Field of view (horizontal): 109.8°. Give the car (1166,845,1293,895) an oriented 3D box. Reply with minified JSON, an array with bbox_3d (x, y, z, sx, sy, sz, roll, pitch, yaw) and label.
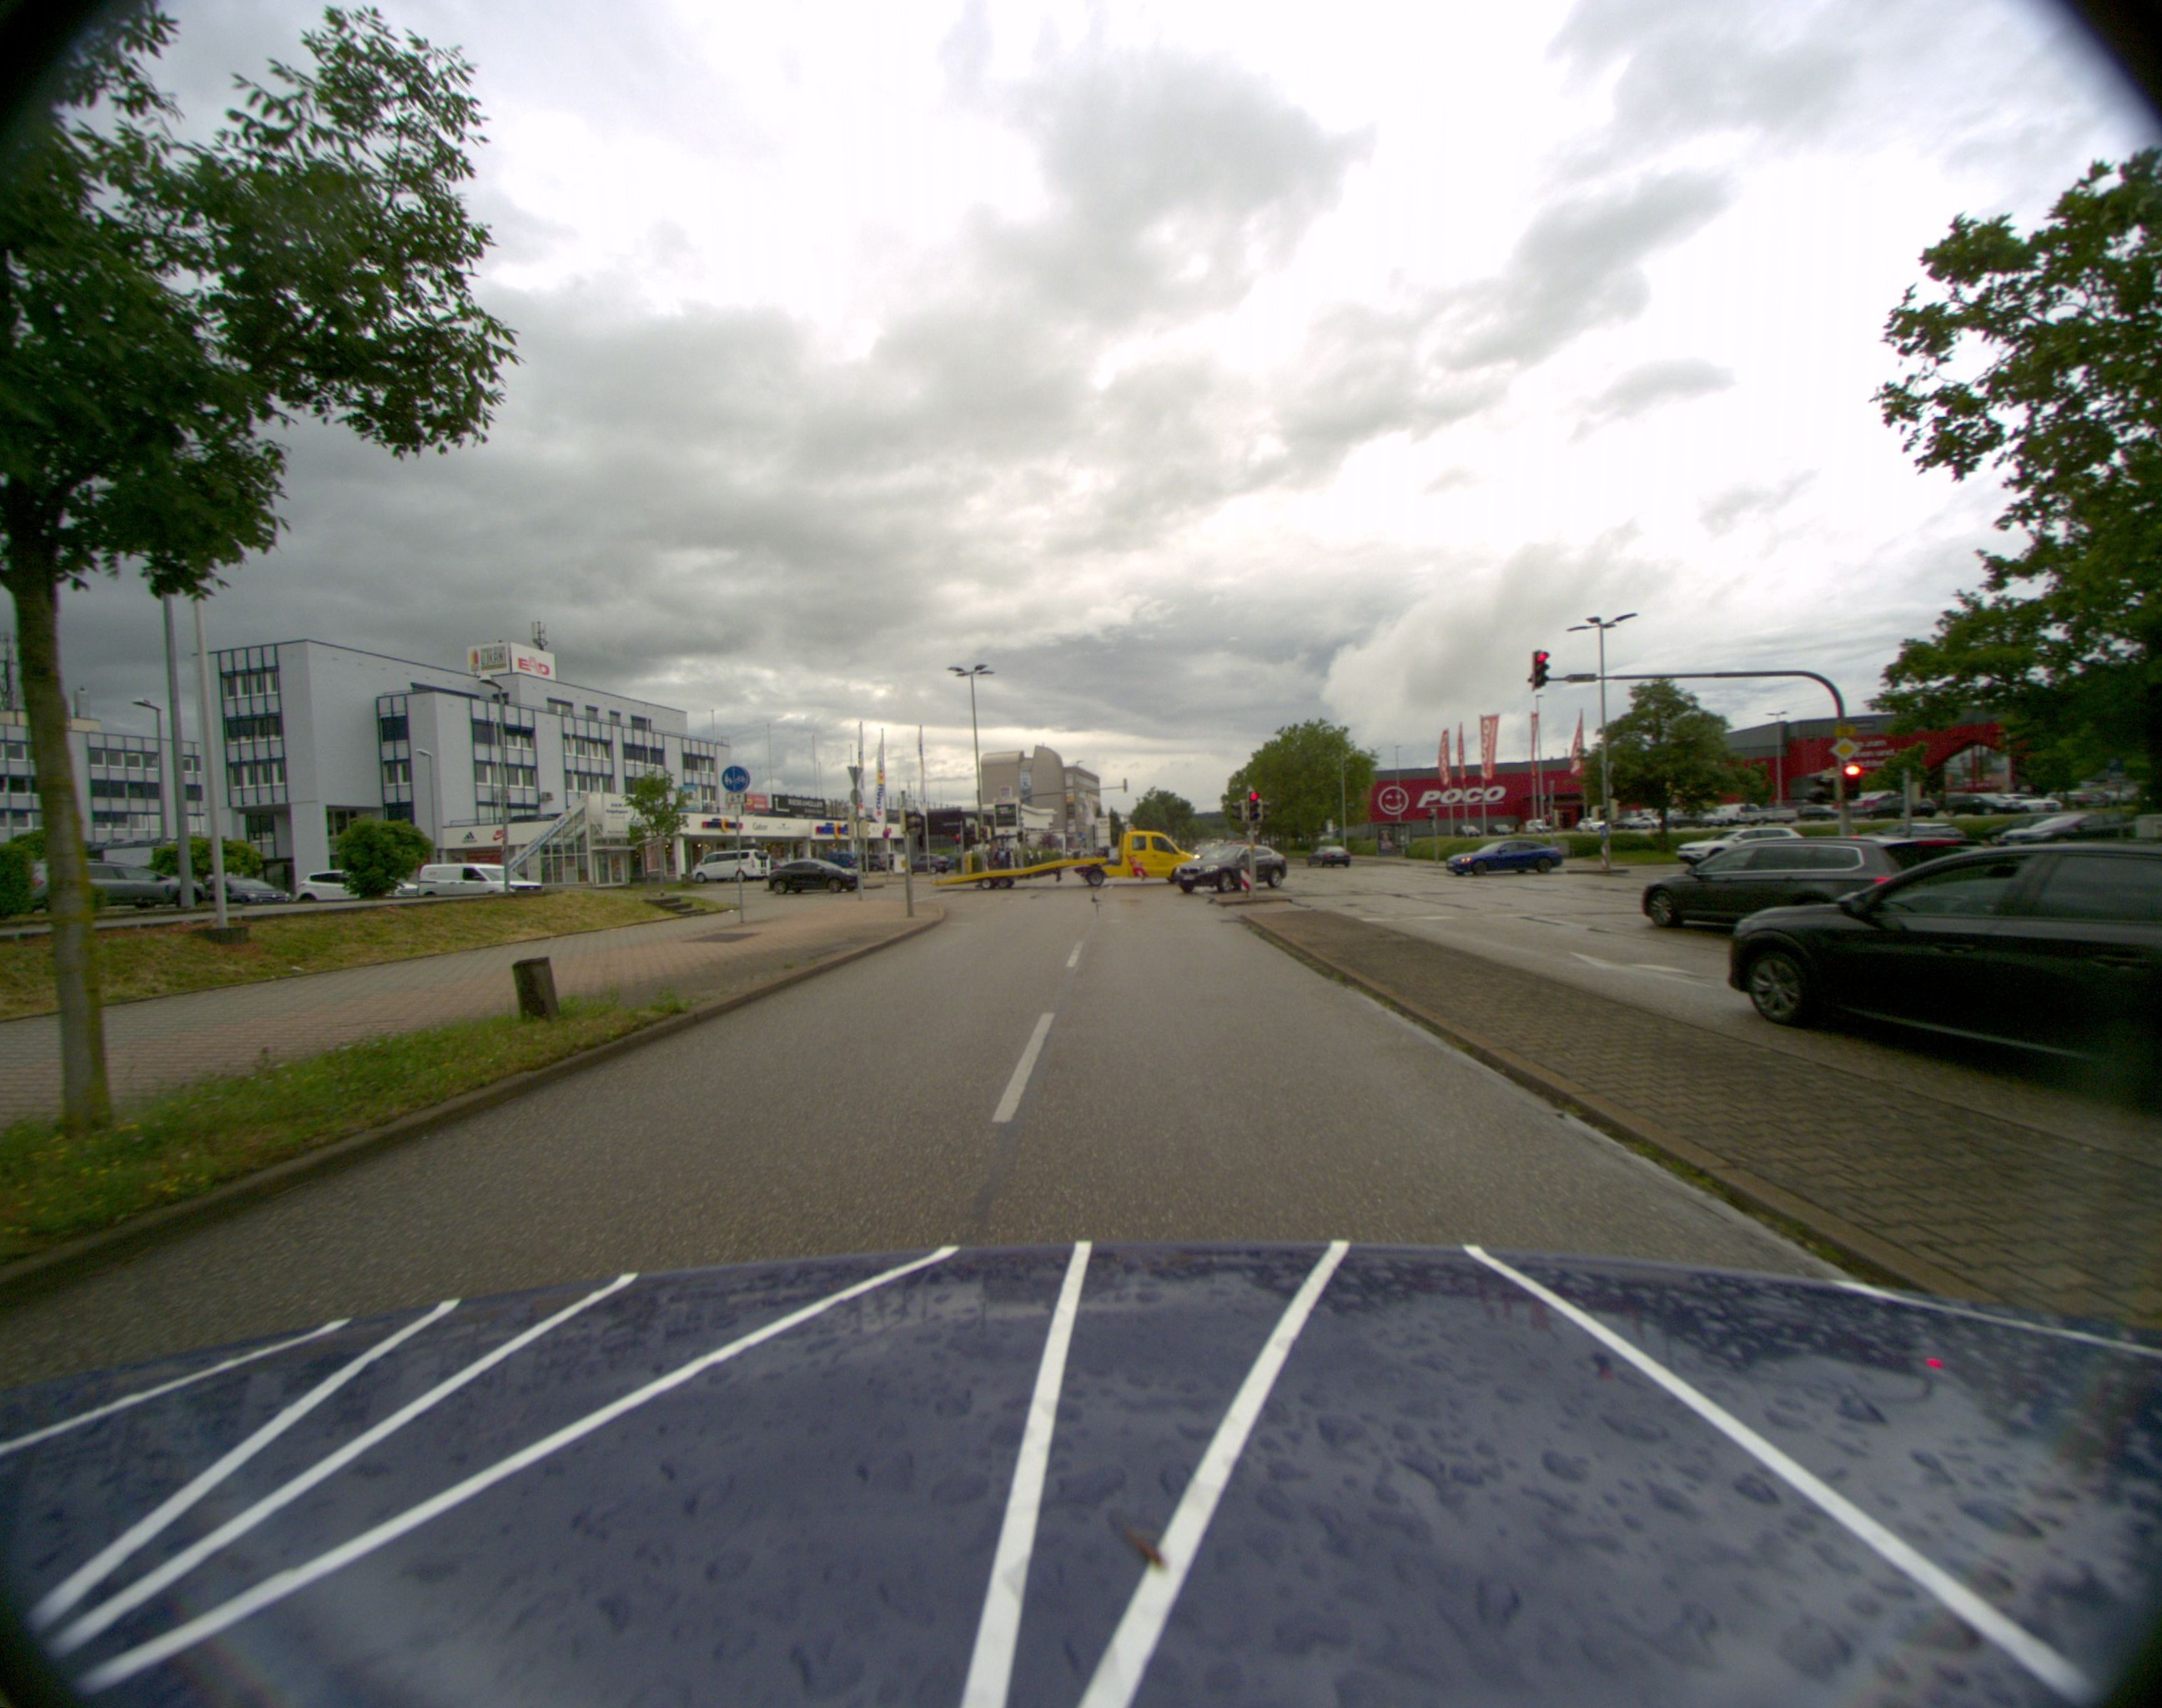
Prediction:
[{"bbox_3d":[5.372,0.511,27.185,4.600,1.544,1.896,-2,1,-39],"label":"car"}]

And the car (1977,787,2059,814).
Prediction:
[{"bbox_3d":[67.366,-3.830,54.719,1.670,1.636,3.830,-1,1,11],"label":"car"}]

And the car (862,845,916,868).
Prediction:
[{"bbox_3d":[-17.534,0.232,69.468,4.367,1.895,1.898,-1,1,12],"label":"car"}]

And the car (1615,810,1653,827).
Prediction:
[{"bbox_3d":[56.778,-3.618,78.087,1.670,1.636,3.965,-1,1,11],"label":"car"}]

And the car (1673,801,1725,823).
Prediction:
[{"bbox_3d":[50.867,-3.433,62.600,1.670,1.636,3.830,-1,1,11],"label":"car"}]

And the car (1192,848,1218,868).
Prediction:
[{"bbox_3d":[9.429,0.265,57.972,1.716,1.455,4.001,0,1,6],"label":"car"}]

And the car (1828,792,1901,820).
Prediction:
[{"bbox_3d":[72.698,-4.407,70.608,1.823,2.290,5.651,-1,1,11],"label":"car"}]

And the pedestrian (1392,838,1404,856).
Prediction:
[{"bbox_3d":[25.529,-0.562,61.220,0.780,1.423,0.641,-1,1,6],"label":"pedestrian"}]

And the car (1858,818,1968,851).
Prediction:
[{"bbox_3d":[42.485,-0.956,38.921,1.683,1.544,3.661,-2,1,3],"label":"car"}]

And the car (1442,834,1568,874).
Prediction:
[{"bbox_3d":[18.623,0.002,33.517,4.548,1.623,1.801,-1,1,0],"label":"car"}]

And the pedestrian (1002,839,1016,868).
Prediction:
[{"bbox_3d":[-5.187,-0.044,54.647,0.740,2.002,0.698,-1,1,11],"label":"pedestrian"}]

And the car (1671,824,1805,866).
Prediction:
[{"bbox_3d":[28.866,-0.375,33.507,3.994,1.544,1.903,-3,0,9],"label":"car"}]

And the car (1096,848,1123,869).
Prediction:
[{"bbox_3d":[2.148,0.310,56.339,1.753,1.455,4.001,0,1,6],"label":"car"}]

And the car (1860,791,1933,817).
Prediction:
[{"bbox_3d":[59.727,-3.633,55.735,1.670,1.636,3.830,-1,1,11],"label":"car"}]

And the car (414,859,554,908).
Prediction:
[{"bbox_3d":[-23.012,1.141,29.339,4.243,1.772,1.800,-2,-1,8],"label":"car"}]

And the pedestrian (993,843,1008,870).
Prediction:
[{"bbox_3d":[-5.577,0.163,52.355,0.814,1.846,0.698,0,3,13],"label":"pedestrian"}]

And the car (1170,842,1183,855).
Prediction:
[{"bbox_3d":[13.265,-0.797,105.430,1.619,1.718,3.680,-1,0,9],"label":"car"}]

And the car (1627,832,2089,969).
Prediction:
[{"bbox_3d":[10.493,0.511,10.978,1.998,1.499,4.731,-2,0,3],"label":"car"}]

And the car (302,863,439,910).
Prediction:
[{"bbox_3d":[-28.021,1.277,30.037,3.994,1.698,1.825,-2,1,9],"label":"car"}]

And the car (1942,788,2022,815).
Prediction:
[{"bbox_3d":[64.590,-3.749,54.569,1.670,1.636,3.830,-1,1,11],"label":"car"}]

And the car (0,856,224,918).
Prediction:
[{"bbox_3d":[-31.063,0.984,24.311,1.890,1.730,4.504,-1,1,7],"label":"car"}]

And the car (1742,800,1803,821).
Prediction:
[{"bbox_3d":[53.246,-3.322,58.597,1.670,1.373,3.912,-1,1,11],"label":"car"}]

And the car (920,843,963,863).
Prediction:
[{"bbox_3d":[-14.921,-0.126,81.179,3.992,2.002,1.913,-1,1,15],"label":"car"}]

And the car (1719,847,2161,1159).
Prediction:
[{"bbox_3d":[6.160,0.726,4.466,1.647,1.499,3.894,-1,0,2],"label":"car"}]

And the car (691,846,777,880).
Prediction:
[{"bbox_3d":[-22.330,0.583,48.929,4.779,2.002,2.002,-1,1,13],"label":"car"}]

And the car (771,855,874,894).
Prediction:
[{"bbox_3d":[-11.724,0.919,34.625,3.996,1.532,1.814,-2,2,4],"label":"car"}]

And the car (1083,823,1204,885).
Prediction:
[{"bbox_3d":[2.699,-0.005,33.840,5.012,2.459,2.246,-3,0,-2],"label":"car"}]

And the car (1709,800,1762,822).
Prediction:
[{"bbox_3d":[53.868,-3.516,62.611,1.630,1.636,3.830,-1,1,11],"label":"car"}]

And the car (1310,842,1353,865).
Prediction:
[{"bbox_3d":[16.613,-0.049,50.544,1.787,1.396,4.001,-2,1,5],"label":"car"}]

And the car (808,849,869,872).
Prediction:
[{"bbox_3d":[-19.814,0.549,62.123,4.367,1.754,1.898,-1,1,12],"label":"car"}]

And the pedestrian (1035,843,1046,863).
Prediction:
[{"bbox_3d":[-3.534,-0.106,66.733,0.713,1.701,0.698,-1,1,13],"label":"pedestrian"}]

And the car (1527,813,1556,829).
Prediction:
[{"bbox_3d":[57.265,-4.085,94.491,1.789,1.914,3.752,-1,0,9],"label":"car"}]

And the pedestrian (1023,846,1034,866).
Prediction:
[{"bbox_3d":[-4.453,0.147,63.920,0.700,1.701,0.698,-1,1,13],"label":"pedestrian"}]

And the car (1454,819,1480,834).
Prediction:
[{"bbox_3d":[46.326,-3.275,91.219,1.695,1.636,3.965,-1,1,11],"label":"car"}]

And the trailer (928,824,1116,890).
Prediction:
[{"bbox_3d":[-2.522,0.123,33.788,7.965,2.459,2.311,-3,0,1],"label":"trailer"}]

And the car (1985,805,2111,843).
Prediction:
[{"bbox_3d":[48.102,-1.446,37.916,1.683,1.714,3.661,-2,1,3],"label":"car"}]

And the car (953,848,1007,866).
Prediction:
[{"bbox_3d":[-8.553,0.260,64.719,4.120,1.386,1.901,-1,1,12],"label":"car"}]

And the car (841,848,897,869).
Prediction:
[{"bbox_3d":[-18.659,0.408,66.911,4.367,1.754,1.898,-1,1,12],"label":"car"}]

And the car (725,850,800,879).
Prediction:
[{"bbox_3d":[-21.853,0.714,52.156,4.367,1.809,1.898,-1,1,12],"label":"car"}]

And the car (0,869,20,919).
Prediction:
[{"bbox_3d":[-38.593,1.430,24.640,1.891,1.730,4.503,-1,0,4],"label":"car"}]

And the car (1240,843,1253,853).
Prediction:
[{"bbox_3d":[27.313,-0.959,125.348,1.841,1.579,4.004,-1,-1,10],"label":"car"}]

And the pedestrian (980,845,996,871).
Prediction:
[{"bbox_3d":[-6.264,0.261,51.178,0.817,1.765,0.695,-2,3,-31],"label":"pedestrian"}]

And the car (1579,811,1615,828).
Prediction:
[{"bbox_3d":[53.977,-3.566,79.545,1.670,1.636,3.965,-1,1,11],"label":"car"}]

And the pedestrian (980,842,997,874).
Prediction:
[{"bbox_3d":[-5.979,0.241,49.225,0.817,2.002,0.695,-2,2,-31],"label":"pedestrian"}]

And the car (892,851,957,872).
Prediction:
[{"bbox_3d":[-11.113,0.540,53.944,4.119,1.386,1.825,-1,1,16],"label":"car"}]

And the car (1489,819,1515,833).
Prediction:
[{"bbox_3d":[52.378,-3.509,94.627,1.695,1.636,3.965,-1,1,11],"label":"car"}]

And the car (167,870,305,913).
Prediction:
[{"bbox_3d":[-34.338,1.509,30.932,3.994,1.589,1.825,-2,1,9],"label":"car"}]

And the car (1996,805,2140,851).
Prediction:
[{"bbox_3d":[40.875,-1.054,31.529,3.535,1.687,1.602,-3,1,7],"label":"car"}]

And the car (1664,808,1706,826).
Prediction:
[{"bbox_3d":[61.346,-3.731,77.203,1.670,1.636,3.965,-1,1,11],"label":"car"}]
